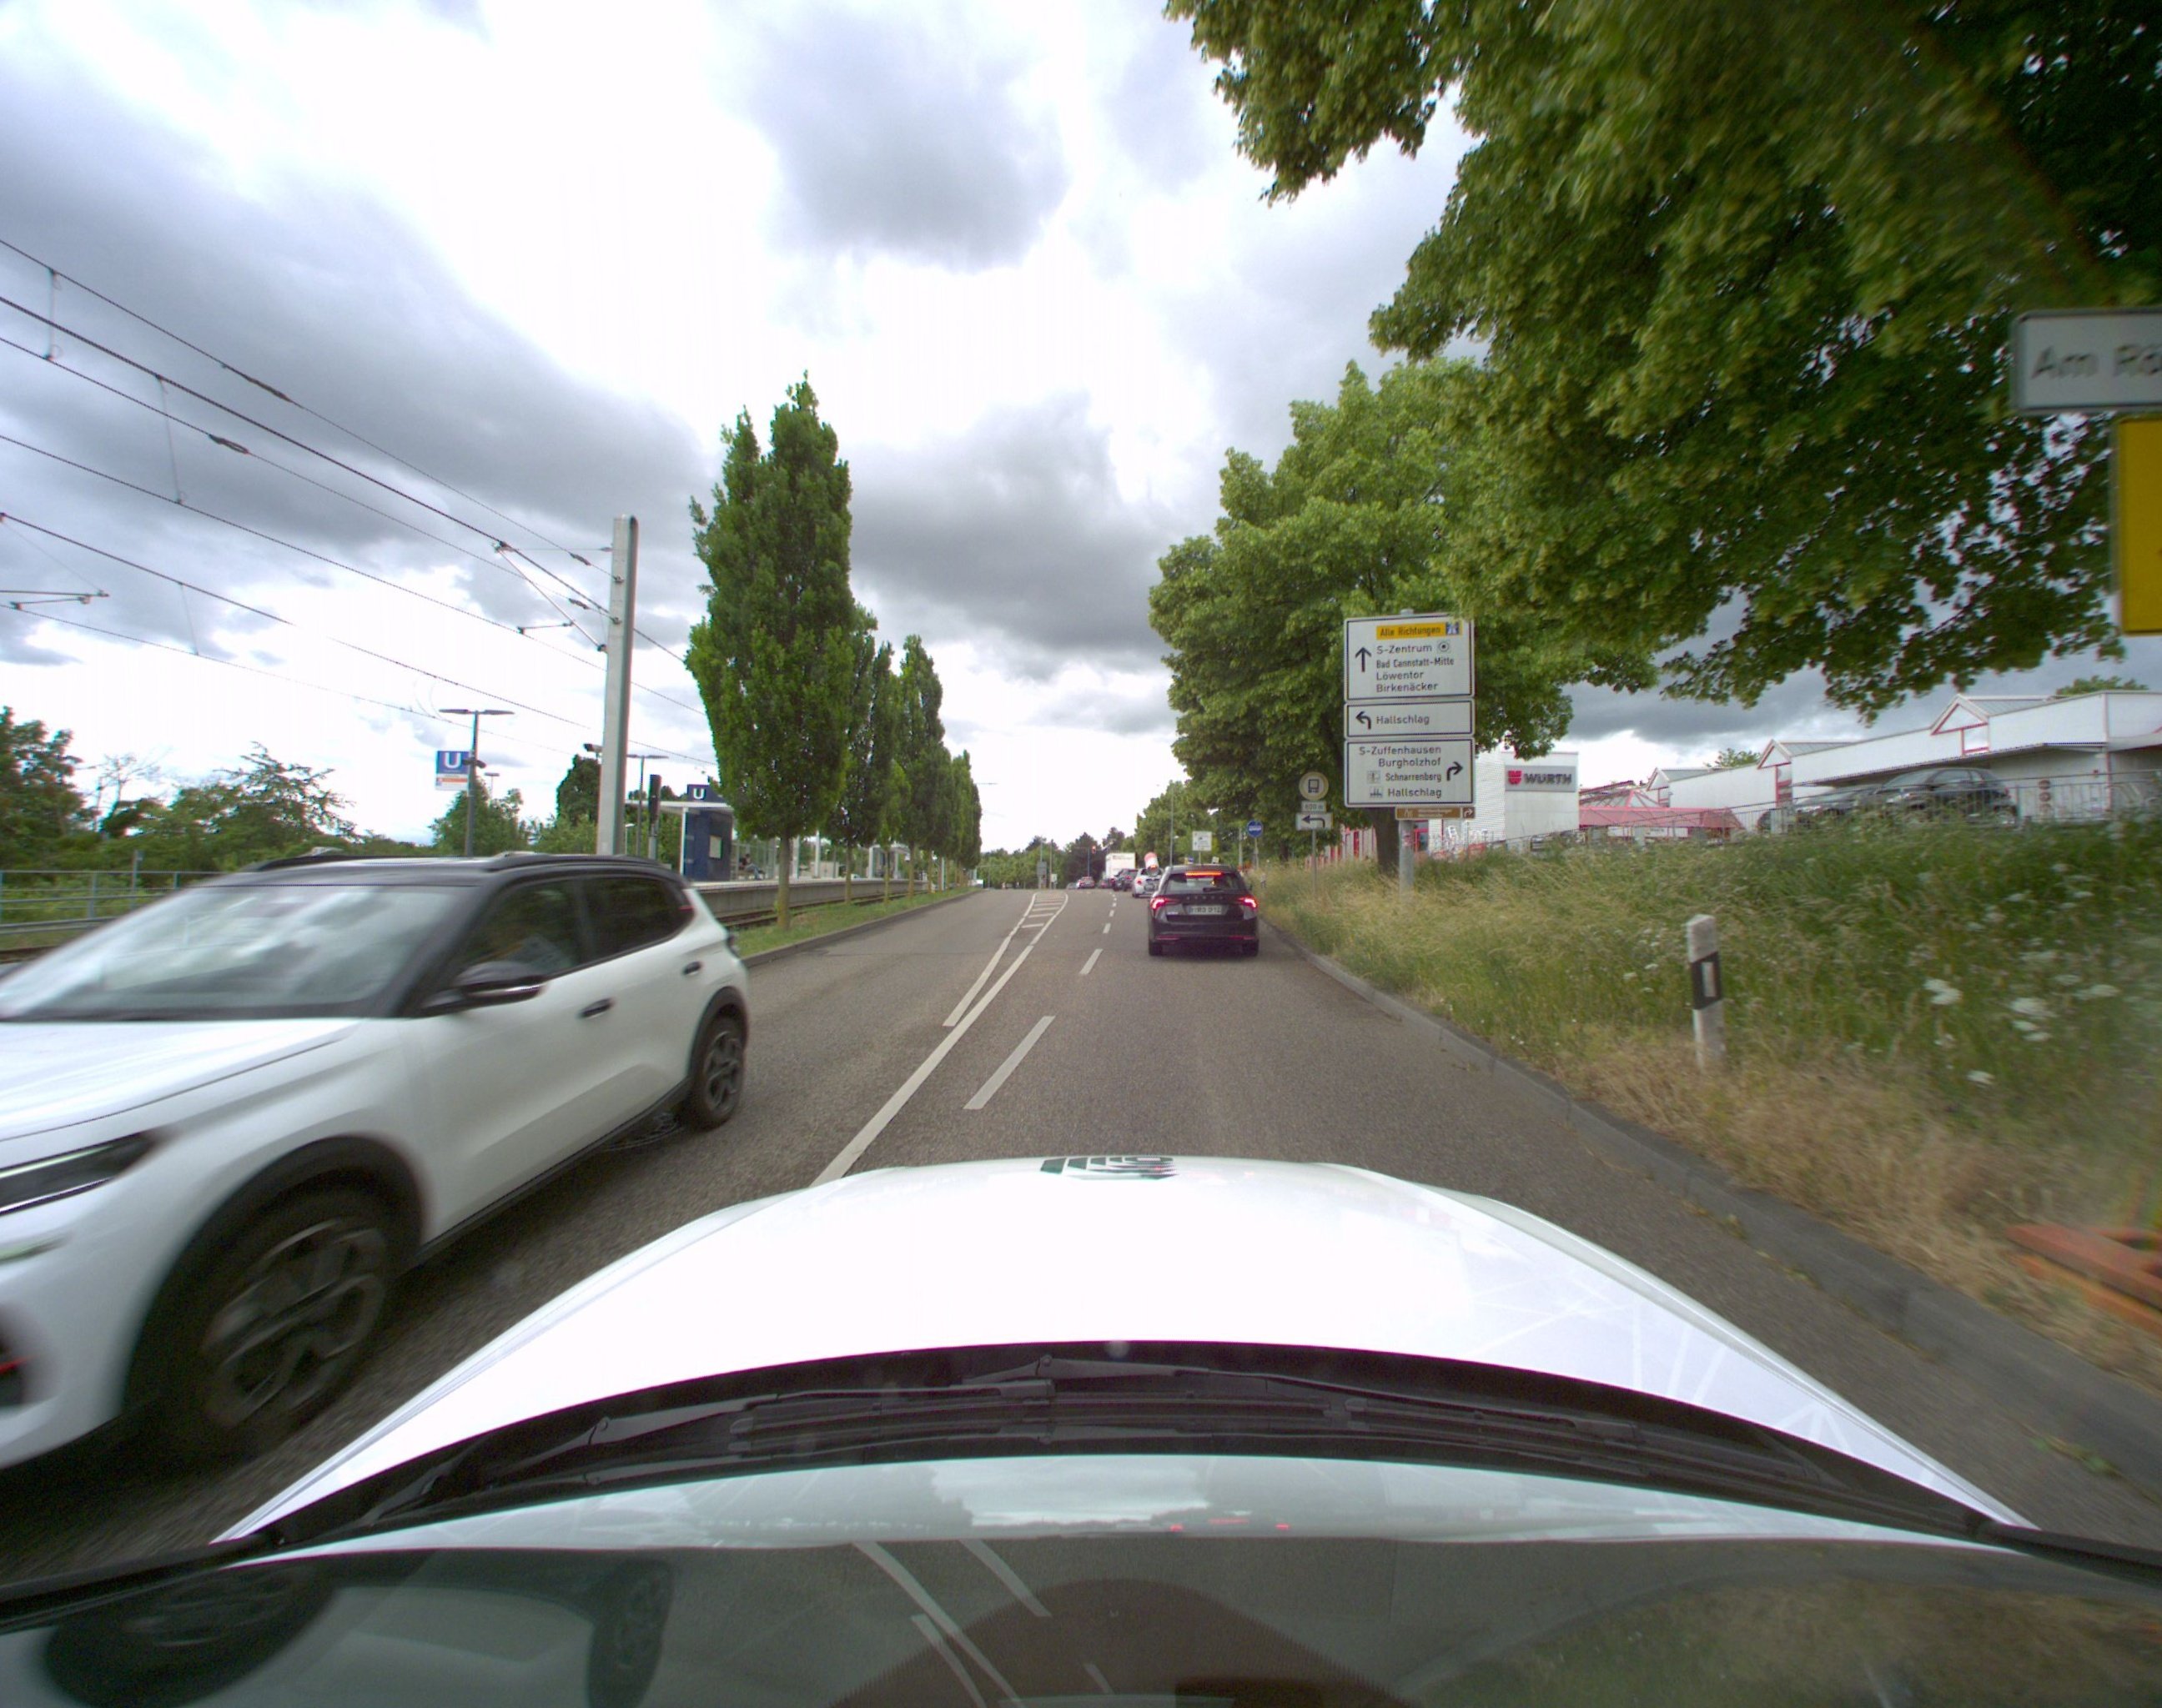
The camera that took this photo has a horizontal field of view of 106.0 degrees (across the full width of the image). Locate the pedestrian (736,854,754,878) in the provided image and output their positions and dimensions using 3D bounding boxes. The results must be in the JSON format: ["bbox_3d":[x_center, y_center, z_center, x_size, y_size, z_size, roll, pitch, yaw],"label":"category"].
[{"bbox_3d":[-15.251,0.541,36.954,0.606,1.079,0.470,0,-1,-4],"label":"pedestrian"}]

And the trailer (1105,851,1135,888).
[{"bbox_3d":[4.129,1.728,87.164,2.559,3.706,7.756,0,-3,-2],"label":"trailer"}]

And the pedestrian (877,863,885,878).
[{"bbox_3d":[-17.701,1.474,72.202,0.609,1.269,0.658,0,-1,-8],"label":"pedestrian"}]

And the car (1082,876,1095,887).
[{"bbox_3d":[0.907,3.368,99.966,1.520,1.354,3.490,0,0,0],"label":"car"}]

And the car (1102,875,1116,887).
[{"bbox_3d":[3.471,3.352,101.325,1.805,1.354,4.119,0,-1,2],"label":"car"}]

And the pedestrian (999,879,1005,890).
[{"bbox_3d":[-11.507,4.495,119.204,0.862,1.560,0.517,0,-1,-5],"label":"pedestrian"}]

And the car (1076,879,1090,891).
[{"bbox_3d":[0.261,4.176,108.989,1.717,1.422,4.351,0,-3,-3],"label":"car"}]

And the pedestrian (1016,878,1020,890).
[{"bbox_3d":[-9.306,4.429,120.433,0.585,1.621,0.422,0,-1,-5],"label":"pedestrian"}]

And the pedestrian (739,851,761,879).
[{"bbox_3d":[-14.702,0.491,36.185,0.759,1.199,0.664,0,-2,-4],"label":"pedestrian"}]

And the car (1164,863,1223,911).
[{"bbox_3d":[3.666,1.048,27.012,1.616,1.457,3.692,0,-1,3],"label":"car"}]

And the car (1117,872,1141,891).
[{"bbox_3d":[3.689,2.156,63.530,1.665,1.448,4.489,0,-2,1],"label":"car"}]

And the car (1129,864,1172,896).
[{"bbox_3d":[3.304,1.265,39.323,1.713,1.457,3.694,0,-2,-1],"label":"car"}]

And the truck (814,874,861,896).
[{"bbox_3d":[-41.057,5.215,137.424,7.214,3.599,2.692,0,-1,1],"label":"truck"}]

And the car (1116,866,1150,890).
[{"bbox_3d":[3.401,1.586,53.756,1.695,1.486,3.993,0,0,-4],"label":"car"}]

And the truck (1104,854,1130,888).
[{"bbox_3d":[4.017,1.911,91.152,2.564,3.706,4.102,0,-3,-2],"label":"truck"}]

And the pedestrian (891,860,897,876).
[{"bbox_3d":[-21.485,1.625,93.379,0.571,1.828,0.791,0,-3,-6],"label":"pedestrian"}]

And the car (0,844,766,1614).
[{"bbox_3d":[-2.937,0.762,3.477,1.710,1.521,3.744,-1,0,0],"label":"car"}]

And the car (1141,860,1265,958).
[{"bbox_3d":[2.073,0.835,14.216,1.826,1.432,4.287,0,-1,7],"label":"car"}]

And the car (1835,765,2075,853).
[{"bbox_3d":[20.516,-1.030,19.253,3.736,1.959,1.646,1,0,6],"label":"car"}]

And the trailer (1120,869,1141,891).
[{"bbox_3d":[3.609,1.889,59.636,1.404,1.594,3.303,0,-2,1],"label":"trailer"}]
